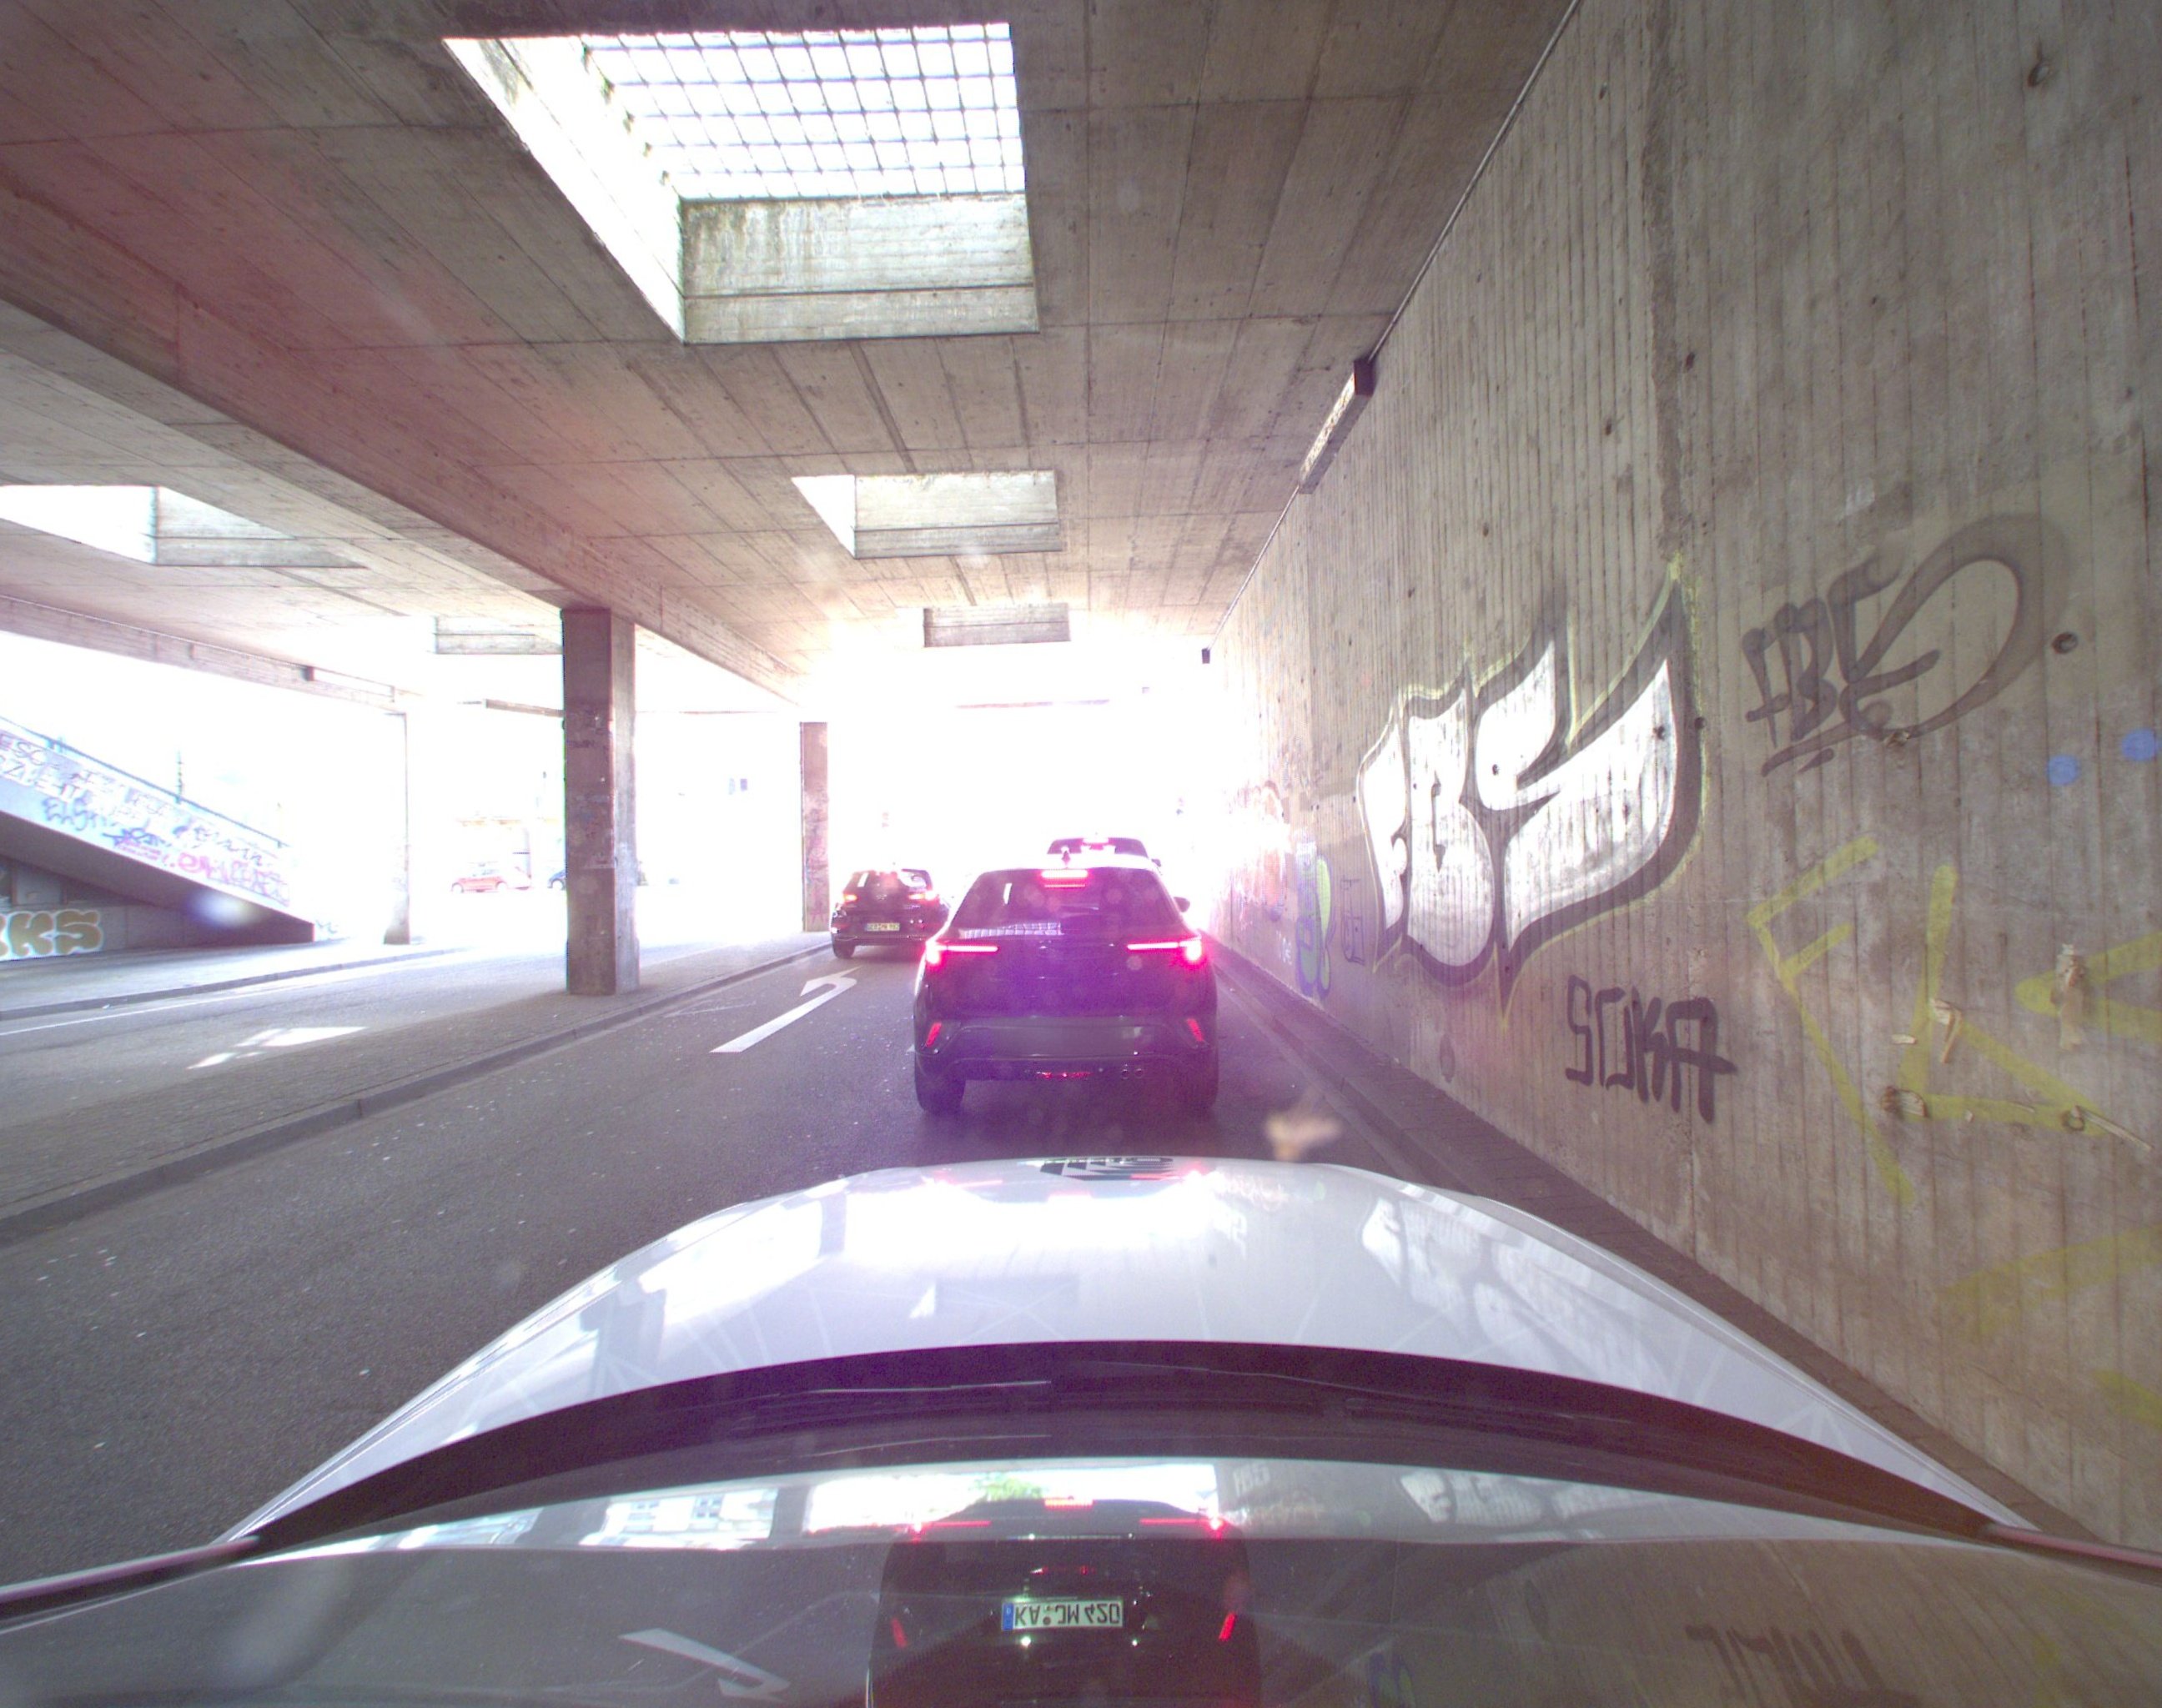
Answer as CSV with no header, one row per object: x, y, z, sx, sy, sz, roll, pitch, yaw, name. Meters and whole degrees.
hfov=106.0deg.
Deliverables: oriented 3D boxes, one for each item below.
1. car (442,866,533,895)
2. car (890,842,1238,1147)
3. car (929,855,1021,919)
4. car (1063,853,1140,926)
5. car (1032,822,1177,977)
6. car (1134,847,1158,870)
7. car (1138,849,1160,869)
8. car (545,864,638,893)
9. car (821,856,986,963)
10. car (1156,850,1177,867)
-32.926,1.456,45.260,3.748,1.475,1.749,-1,-1,0,car
-0.024,0.725,6.218,1.755,1.531,4.091,-1,0,2,car
-2.656,0.794,21.204,1.755,1.480,3.846,-1,0,2,car
0.496,0.759,19.375,1.603,1.513,4.055,-1,0,2,car
0.360,0.564,12.157,1.755,1.883,4.148,-1,0,2,car
4.970,0.371,62.244,1.745,1.667,3.950,0,-1,6,car
5.757,0.414,68.348,1.745,1.667,3.950,0,-1,6,car
-27.170,1.331,45.283,4.096,1.475,1.737,-1,-1,0,car
-2.745,0.799,13.476,1.755,1.480,3.846,-1,0,2,car
8.711,0.506,82.551,1.742,1.667,3.956,-1,-1,11,car
